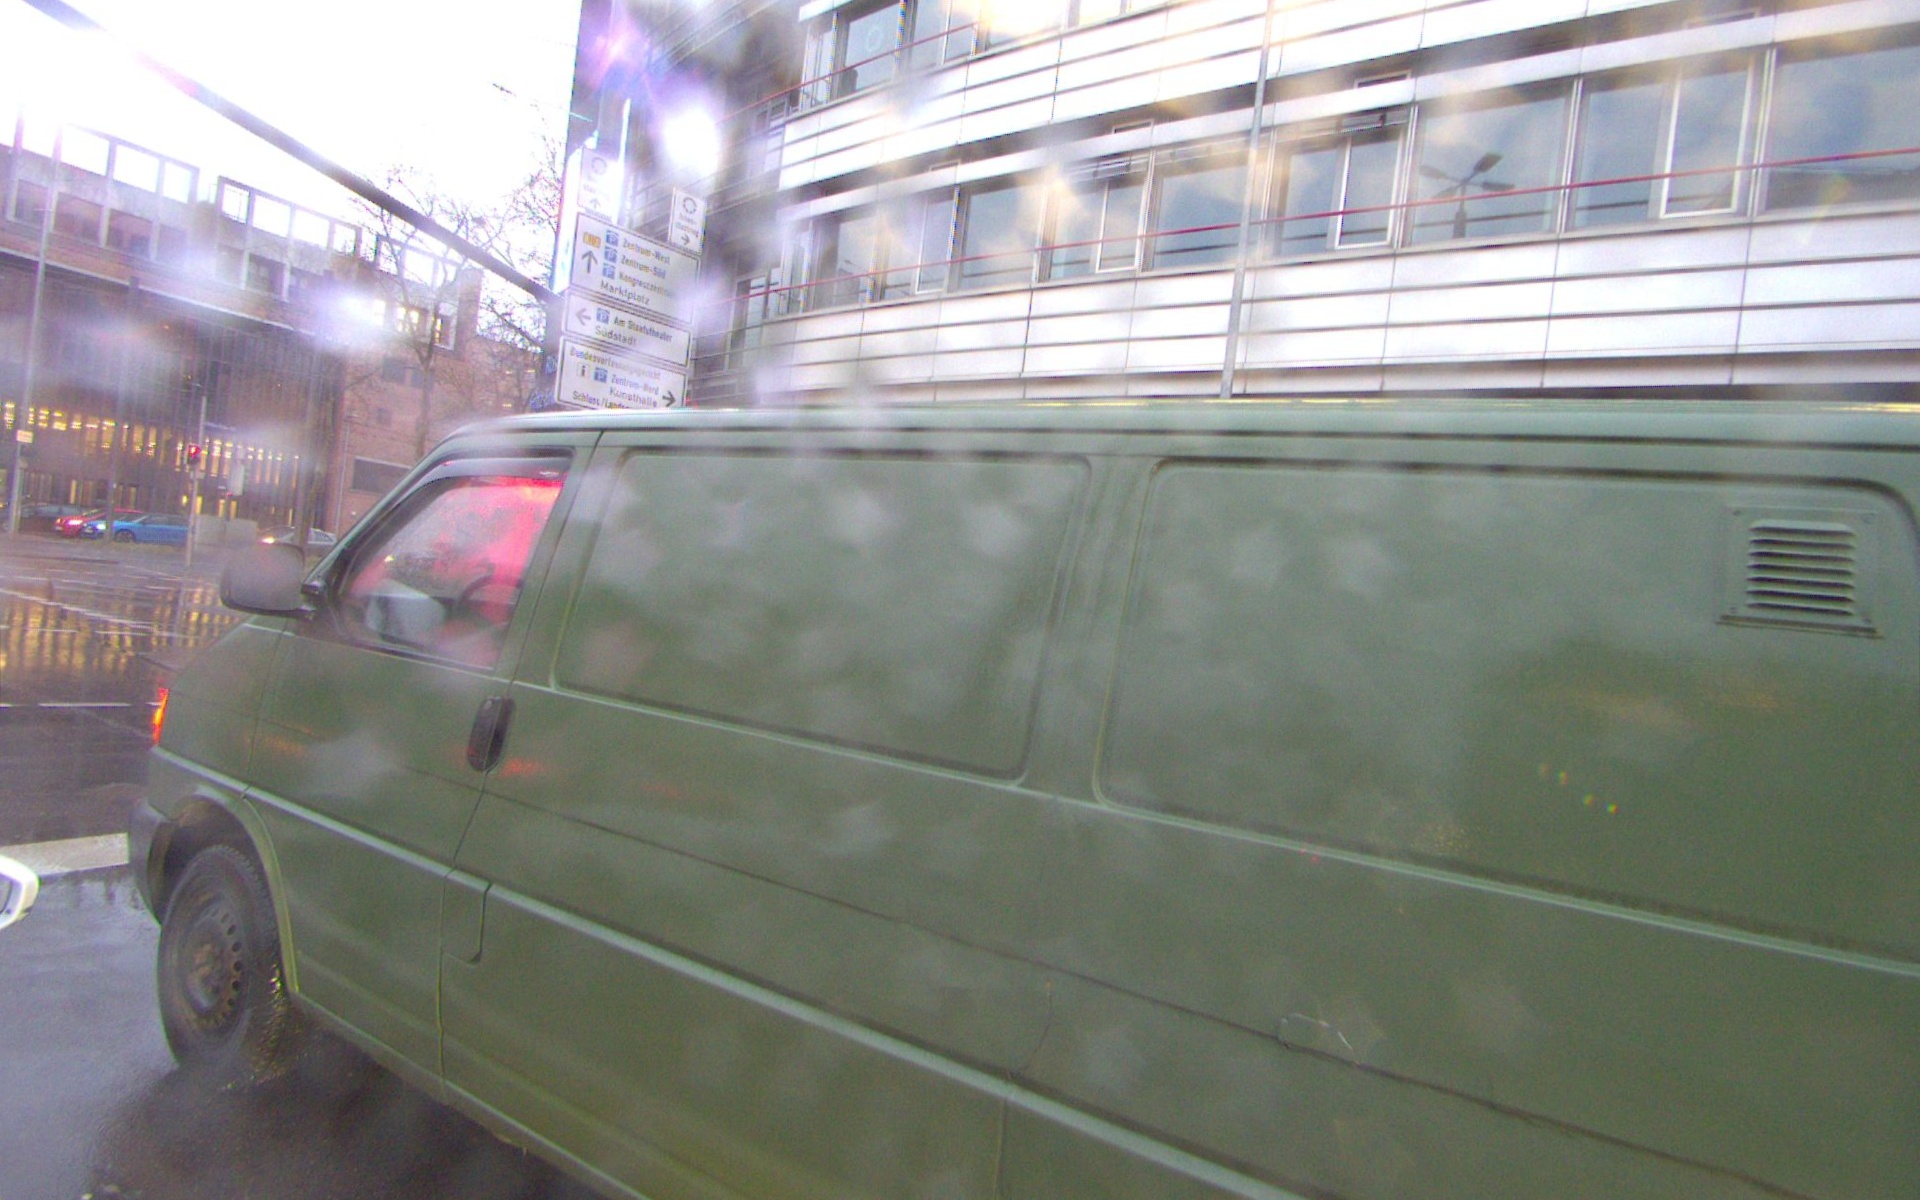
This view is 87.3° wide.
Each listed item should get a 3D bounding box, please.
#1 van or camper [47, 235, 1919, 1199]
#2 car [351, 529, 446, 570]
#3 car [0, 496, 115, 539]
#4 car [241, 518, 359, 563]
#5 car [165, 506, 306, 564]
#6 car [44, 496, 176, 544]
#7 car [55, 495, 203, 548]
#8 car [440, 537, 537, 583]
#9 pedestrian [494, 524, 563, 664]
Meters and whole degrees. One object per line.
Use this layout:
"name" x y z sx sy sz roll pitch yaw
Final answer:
"van or camper" -0.338 0.527 2.631 4.345 1.929 1.760 7 -1 32
"car" -30.176 -2.697 54.135 1.814 1.523 3.997 11 1 26
"car" -39.218 -3.565 43.213 1.965 1.326 3.994 7 0 28
"car" -29.643 -2.660 45.309 1.814 1.304 3.997 11 1 26
"car" -28.311 -2.512 39.446 1.814 1.523 3.997 11 1 26
"car" -35.479 -3.312 42.103 1.814 1.278 3.729 11 1 26
"car" -32.447 -3.036 39.388 1.814 1.278 3.997 11 1 26
"car" -23.571 -1.980 50.412 1.814 1.621 3.997 11 1 26
"pedestrian" -7.081 -0.092 16.527 0.609 2.210 0.576 6 0 26
